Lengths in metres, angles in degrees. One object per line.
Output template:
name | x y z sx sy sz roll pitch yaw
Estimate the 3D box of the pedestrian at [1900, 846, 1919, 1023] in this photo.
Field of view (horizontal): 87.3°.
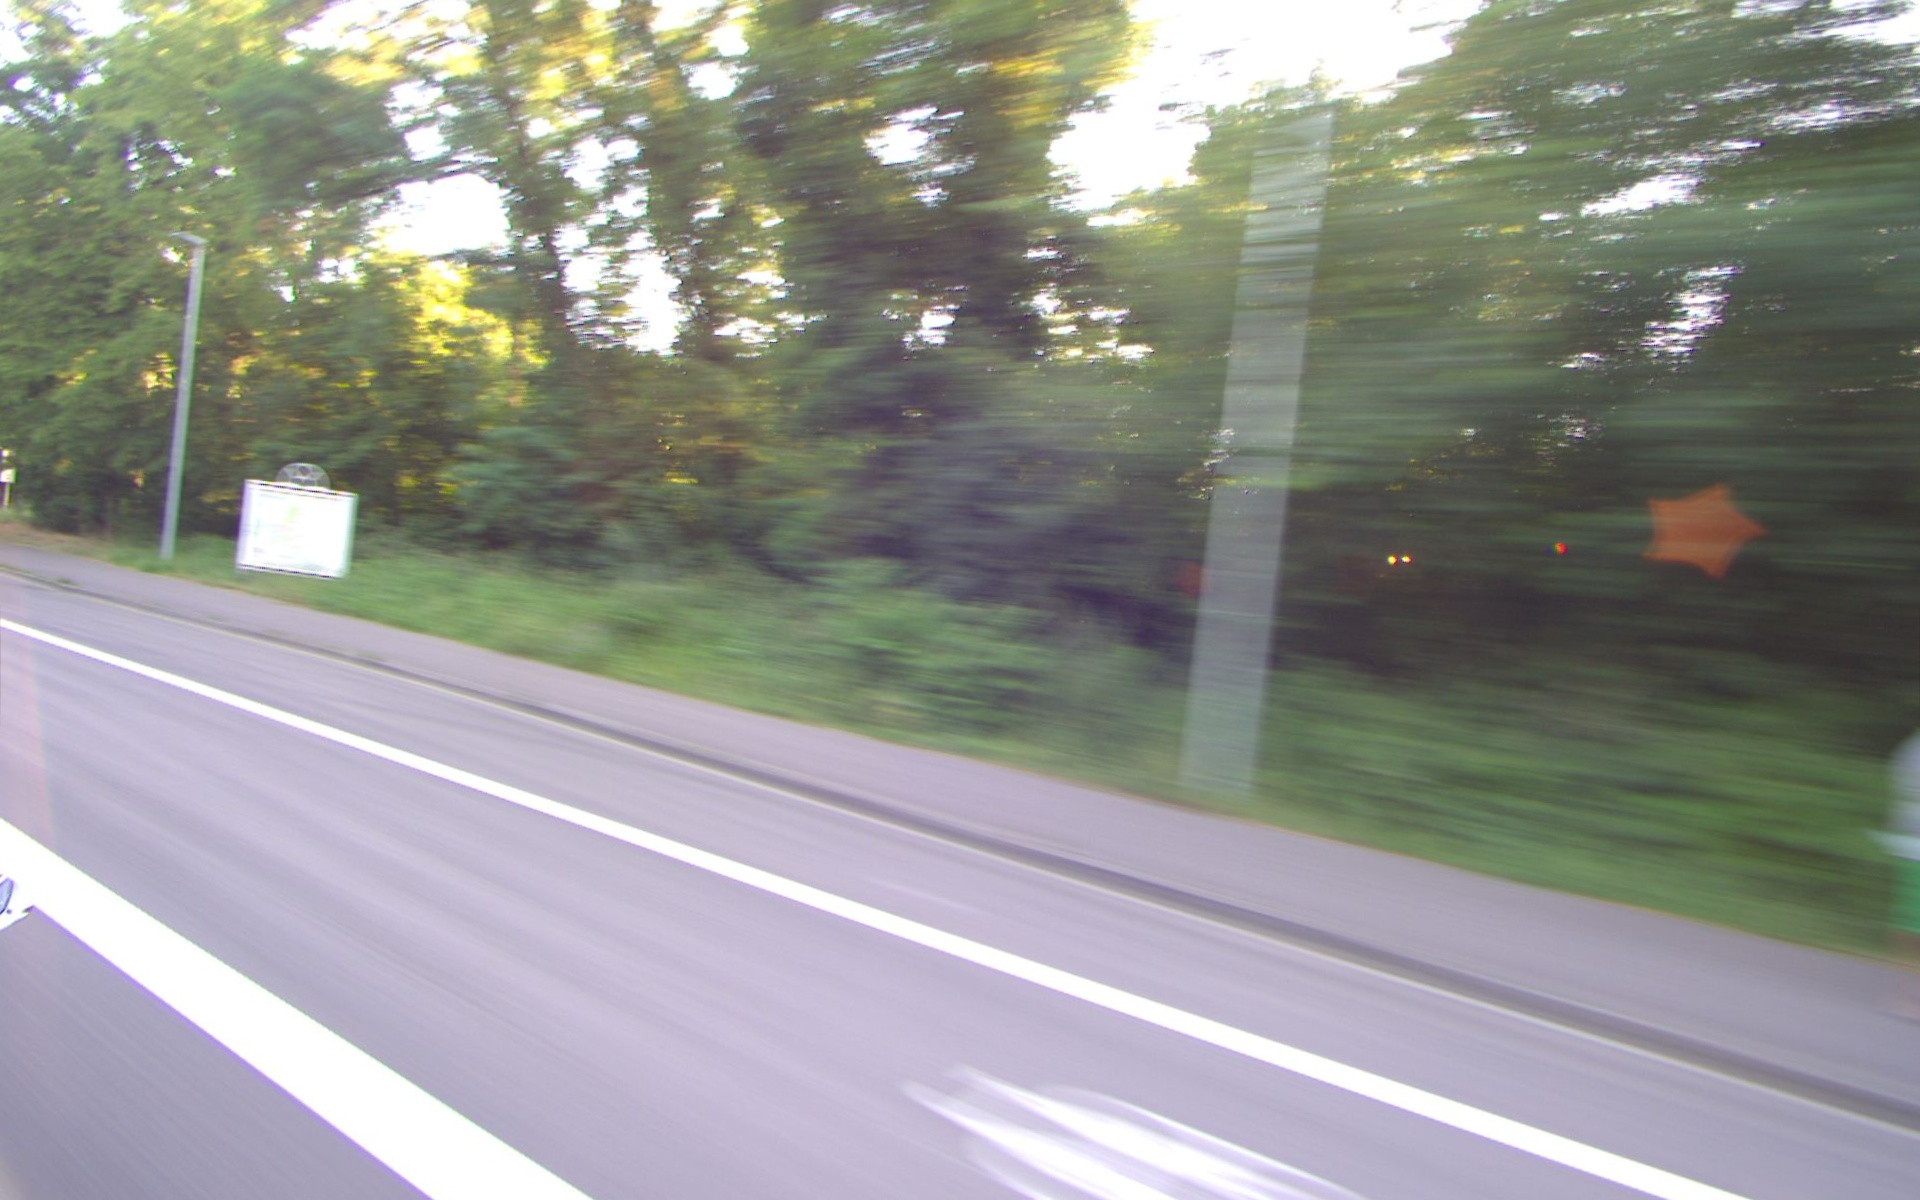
pedestrian | 5.462 1.388 5.096 0.714 1.773 0.839 7 0 33
